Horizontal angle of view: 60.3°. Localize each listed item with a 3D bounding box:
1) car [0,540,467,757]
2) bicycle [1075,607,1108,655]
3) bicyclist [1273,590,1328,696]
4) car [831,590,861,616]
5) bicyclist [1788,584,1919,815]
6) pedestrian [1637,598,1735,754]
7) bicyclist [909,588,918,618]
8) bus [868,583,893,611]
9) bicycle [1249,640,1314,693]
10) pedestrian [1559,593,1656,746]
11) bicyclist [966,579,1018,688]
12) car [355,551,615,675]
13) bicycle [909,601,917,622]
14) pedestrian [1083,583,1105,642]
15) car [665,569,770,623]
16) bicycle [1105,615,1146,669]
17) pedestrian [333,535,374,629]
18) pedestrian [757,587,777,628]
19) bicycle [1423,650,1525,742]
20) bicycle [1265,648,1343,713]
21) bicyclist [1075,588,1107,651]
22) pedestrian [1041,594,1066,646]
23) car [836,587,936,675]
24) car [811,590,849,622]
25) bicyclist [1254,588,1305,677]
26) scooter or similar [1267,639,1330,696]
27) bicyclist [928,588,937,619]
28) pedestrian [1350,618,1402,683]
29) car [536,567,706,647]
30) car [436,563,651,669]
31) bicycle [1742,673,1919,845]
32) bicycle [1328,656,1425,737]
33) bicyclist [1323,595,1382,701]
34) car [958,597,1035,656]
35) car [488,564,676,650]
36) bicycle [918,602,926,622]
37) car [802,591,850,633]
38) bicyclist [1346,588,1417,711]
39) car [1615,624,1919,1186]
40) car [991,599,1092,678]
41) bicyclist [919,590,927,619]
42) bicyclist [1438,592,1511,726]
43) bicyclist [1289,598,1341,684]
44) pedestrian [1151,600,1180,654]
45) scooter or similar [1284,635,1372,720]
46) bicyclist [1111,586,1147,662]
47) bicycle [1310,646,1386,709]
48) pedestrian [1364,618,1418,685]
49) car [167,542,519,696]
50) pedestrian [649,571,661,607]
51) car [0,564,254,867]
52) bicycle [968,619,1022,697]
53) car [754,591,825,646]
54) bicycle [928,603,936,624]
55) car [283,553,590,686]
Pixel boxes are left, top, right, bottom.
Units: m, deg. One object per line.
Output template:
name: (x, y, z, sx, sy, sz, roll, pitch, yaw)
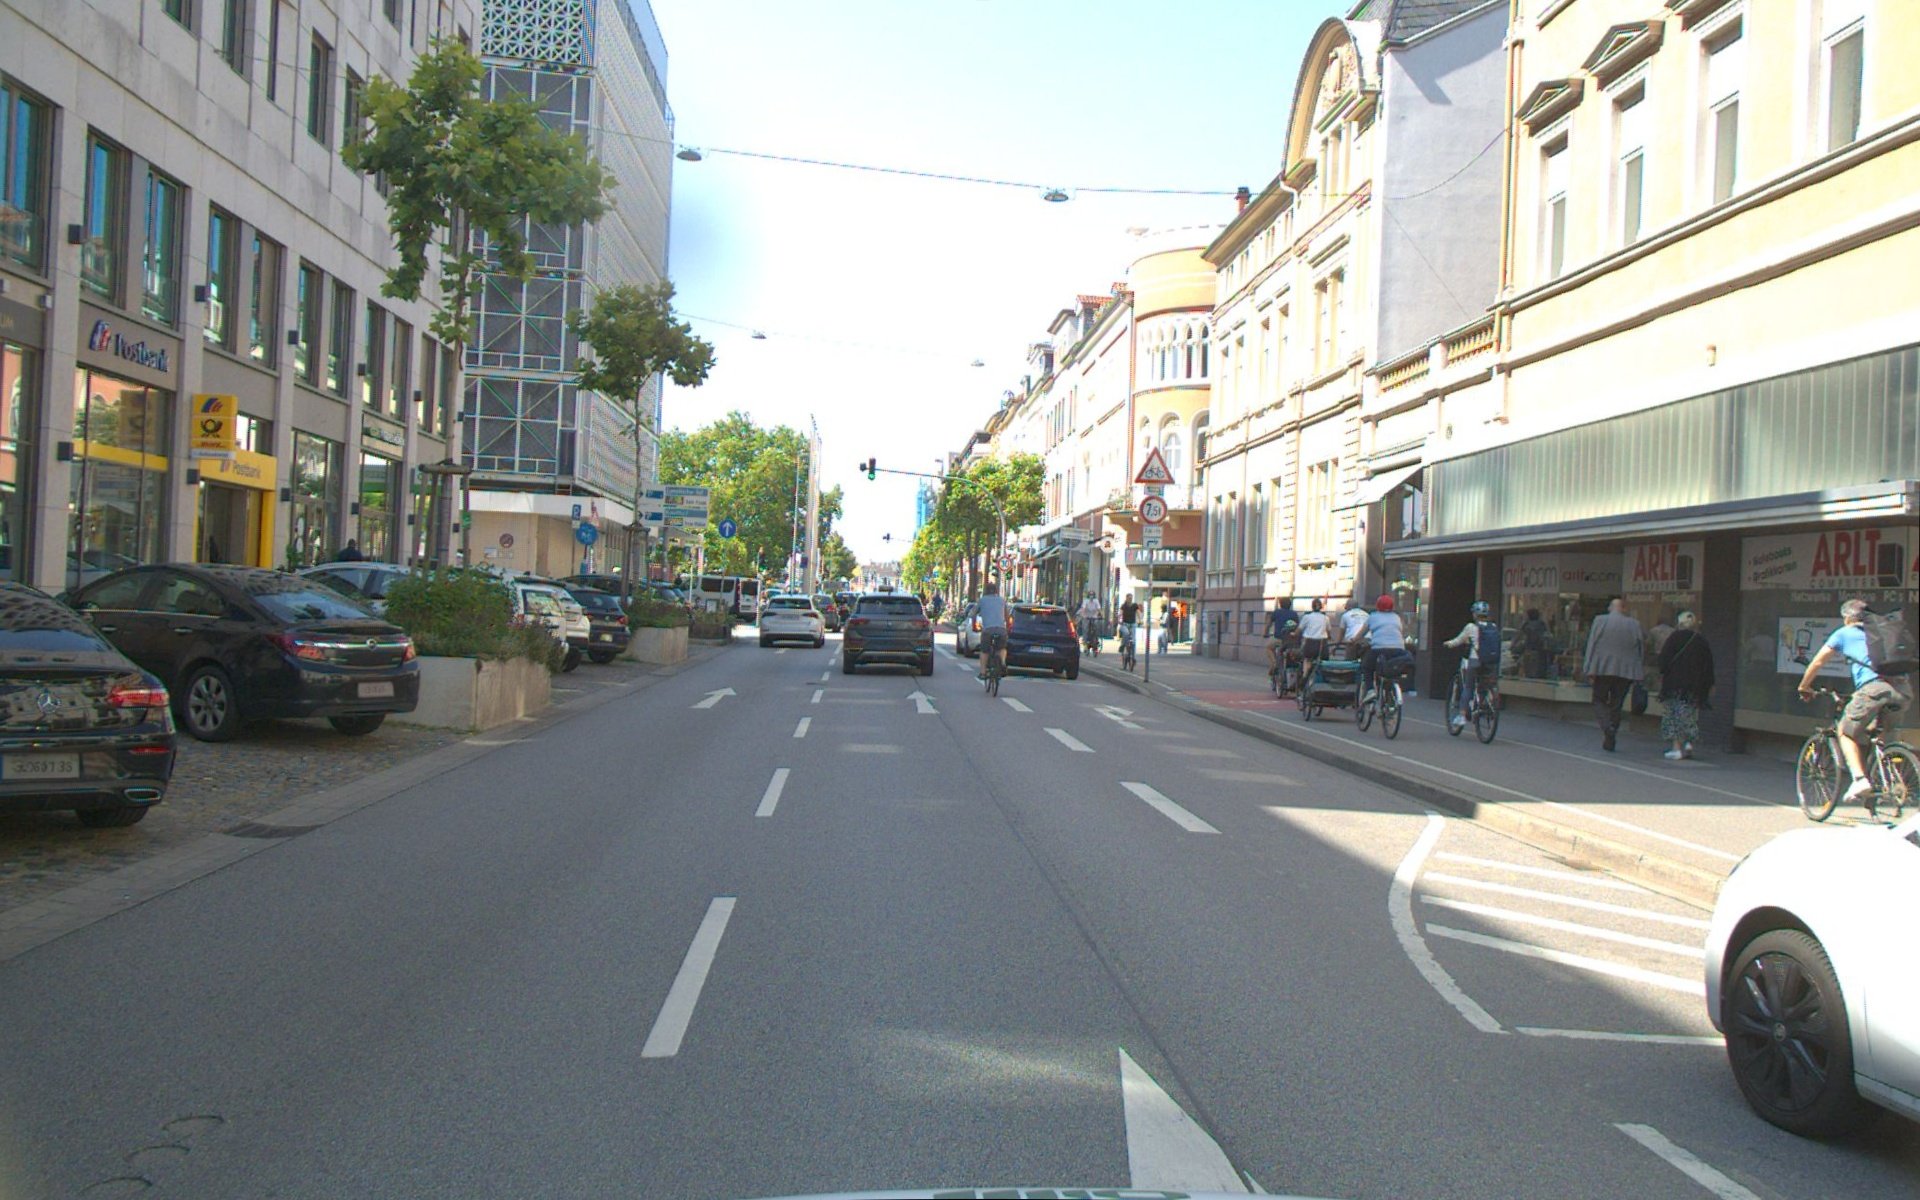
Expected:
car: (-6.897, 0.391, 15.399, 4.258, 1.539, 1.831, 5, 0, 27)
bicycle: (3.694, 0.855, 46.555, 0.544, 1.230, 2.242, 5, 0, -3)
bicyclist: (5.323, 0.664, 25.893, 0.619, 1.623, 0.920, 2, -1, -2)
car: (-6.701, 0.166, 97.407, 1.709, 1.466, 3.997, 2, 0, -4)
bicyclist: (7.055, 0.745, 12.878, 0.634, 1.714, 1.012, 2, 0, -2)
pedestrian: (8.284, 0.845, 18.902, 0.634, 1.714, 0.944, 2, 0, -2)
bicyclist: (-2.582, 0.156, 91.781, 0.411, 1.658, 0.708, 2, 0, -2)
bus: (-10.889, -0.424, 225.089, 2.717, 3.668, 8.961, 2, 0, -6)
bicycle: (5.981, 1.220, 30.913, 0.725, 0.895, 2.137, 2, 0, -2)
pedestrian: (7.666, 0.804, 19.619, 0.859, 1.748, 0.836, 1, 0, 8)
bicyclist: (0.512, 0.536, 27.121, 0.680, 1.702, 0.915, 4, 1, -2)
car: (-8.103, 0.220, 28.212, 3.909, 1.595, 1.699, 7, 0, 22)
bicycle: (-2.602, 0.624, 91.776, 0.411, 1.155, 1.909, 2, 0, -2)
pedestrian: (4.275, 0.401, 52.844, 0.638, 1.841, 0.729, 2, 0, 2)
car: (-11.049, -0.177, 75.324, 4.633, 2.038, 1.933, 5, 1, 37)
bicycle: (3.819, 0.955, 38.302, 0.544, 1.140, 2.242, 4, 0, -3)
pedestrian: (-13.394, -0.393, 36.529, 0.611, 2.049, 0.700, 2, 0, -3)
pedestrian: (-8.053, 0.317, 69.102, 0.606, 1.643, 0.544, 3, -2, -33)
bicycle: (6.419, 1.172, 20.763, 0.552, 1.013, 2.102, 2, 0, -2)
bicycle: (5.314, 1.225, 25.703, 0.634, 0.895, 2.388, 2, -1, -1)
bicyclist: (3.701, 0.535, 46.818, 0.680, 1.702, 0.835, 4, 1, -3)
pedestrian: (3.334, 0.709, 58.767, 0.711, 1.841, 0.654, 2, 0, 14)
car: (-1.488, 0.611, 32.848, 1.797, 1.554, 3.997, 2, -1, -3)
car: (-6.299, 0.286, 80.433, 1.709, 1.466, 3.997, 2, 0, -4)
bicyclist: (5.985, 0.606, 30.997, 0.695, 1.623, 0.963, 2, 0, -2)
scooter or similar: (5.999, 1.189, 29.383, 0.835, 0.935, 1.164, 2, 0, -2)
bicyclist: (-1.519, 0.191, 91.898, 0.411, 1.658, 0.708, 2, 0, -2)
pedestrian: (8.413, 1.014, 33.460, 0.916, 1.291, 0.568, 0, 0, 3)
car: (-8.551, 0.176, 41.955, 3.911, 1.571, 1.715, 6, -1, -6)
car: (-7.952, 0.298, 31.496, 3.920, 1.484, 1.665, 7, 0, 34)
bicycle: (7.016, 1.202, 13.011, 0.634, 1.139, 2.102, 2, 0, -2)
bicycle: (5.278, 1.206, 21.090, 0.634, 0.895, 2.102, 2, 0, -2)
bicyclist: (6.203, 0.750, 26.170, 0.644, 1.623, 0.920, 2, 0, -2)
car: (0.924, 0.676, 44.380, 1.785, 1.409, 3.998, 2, 1, -2)
car: (-8.740, 0.172, 38.508, 3.911, 1.526, 1.715, 6, -1, -6)
bicycle: (-2.172, 0.683, 94.873, 0.411, 1.155, 1.909, 2, 0, -2)
car: (-5.036, 0.435, 62.371, 1.709, 1.466, 3.997, 2, 0, -4)
bicyclist: (5.330, 0.617, 20.930, 0.612, 1.502, 0.889, 2, 0, -2)
car: (3.628, 0.942, 4.055, 1.778, 1.491, 4.575, 4, 1, -6)
car: (1.694, 0.791, 35.446, 1.786, 1.433, 3.185, 5, 1, -2)
bicyclist: (-2.151, 0.268, 95.078, 0.411, 1.658, 0.668, 2, 0, -2)
bicyclist: (6.436, 0.725, 20.723, 0.570, 1.623, 0.920, 2, 0, -2)
bicyclist: (5.348, 0.613, 24.947, 0.611, 1.270, 0.607, 2, 0, -2)
pedestrian: (6.825, 0.901, 54.973, 0.776, 1.750, 0.728, 1, 0, -8)
scooter or similar: (5.233, 1.086, 23.616, 0.853, 1.141, 1.620, 0, 0, -2)
bicyclist: (3.905, 0.568, 38.338, 0.680, 1.703, 0.835, 2, -3, -2)
bicycle: (6.137, 1.212, 26.247, 0.634, 0.895, 2.102, 2, 0, -2)
pedestrian: (8.525, 1.016, 32.738, 0.916, 1.291, 0.568, 0, 0, 3)
car: (-8.013, 0.249, 21.816, 3.913, 1.526, 1.714, 6, -1, -8)
pedestrian: (-17.505, -0.611, 94.896, 0.612, 2.049, 0.571, 2, 0, -9)
car: (-6.396, 0.519, 10.172, 4.567, 1.432, 1.896, 5, 1, 40)
bicycle: (0.560, 0.924, 27.093, 0.651, 1.140, 2.242, 4, 0, -3)
car: (-4.794, 0.500, 47.050, 1.826, 1.466, 3.997, 2, 0, -4)
bicycle: (-1.537, 0.743, 91.678, 0.411, 1.155, 1.909, 2, 0, -2)
car: (-7.780, 0.285, 24.699, 3.904, 1.515, 1.785, 6, 0, 14)
